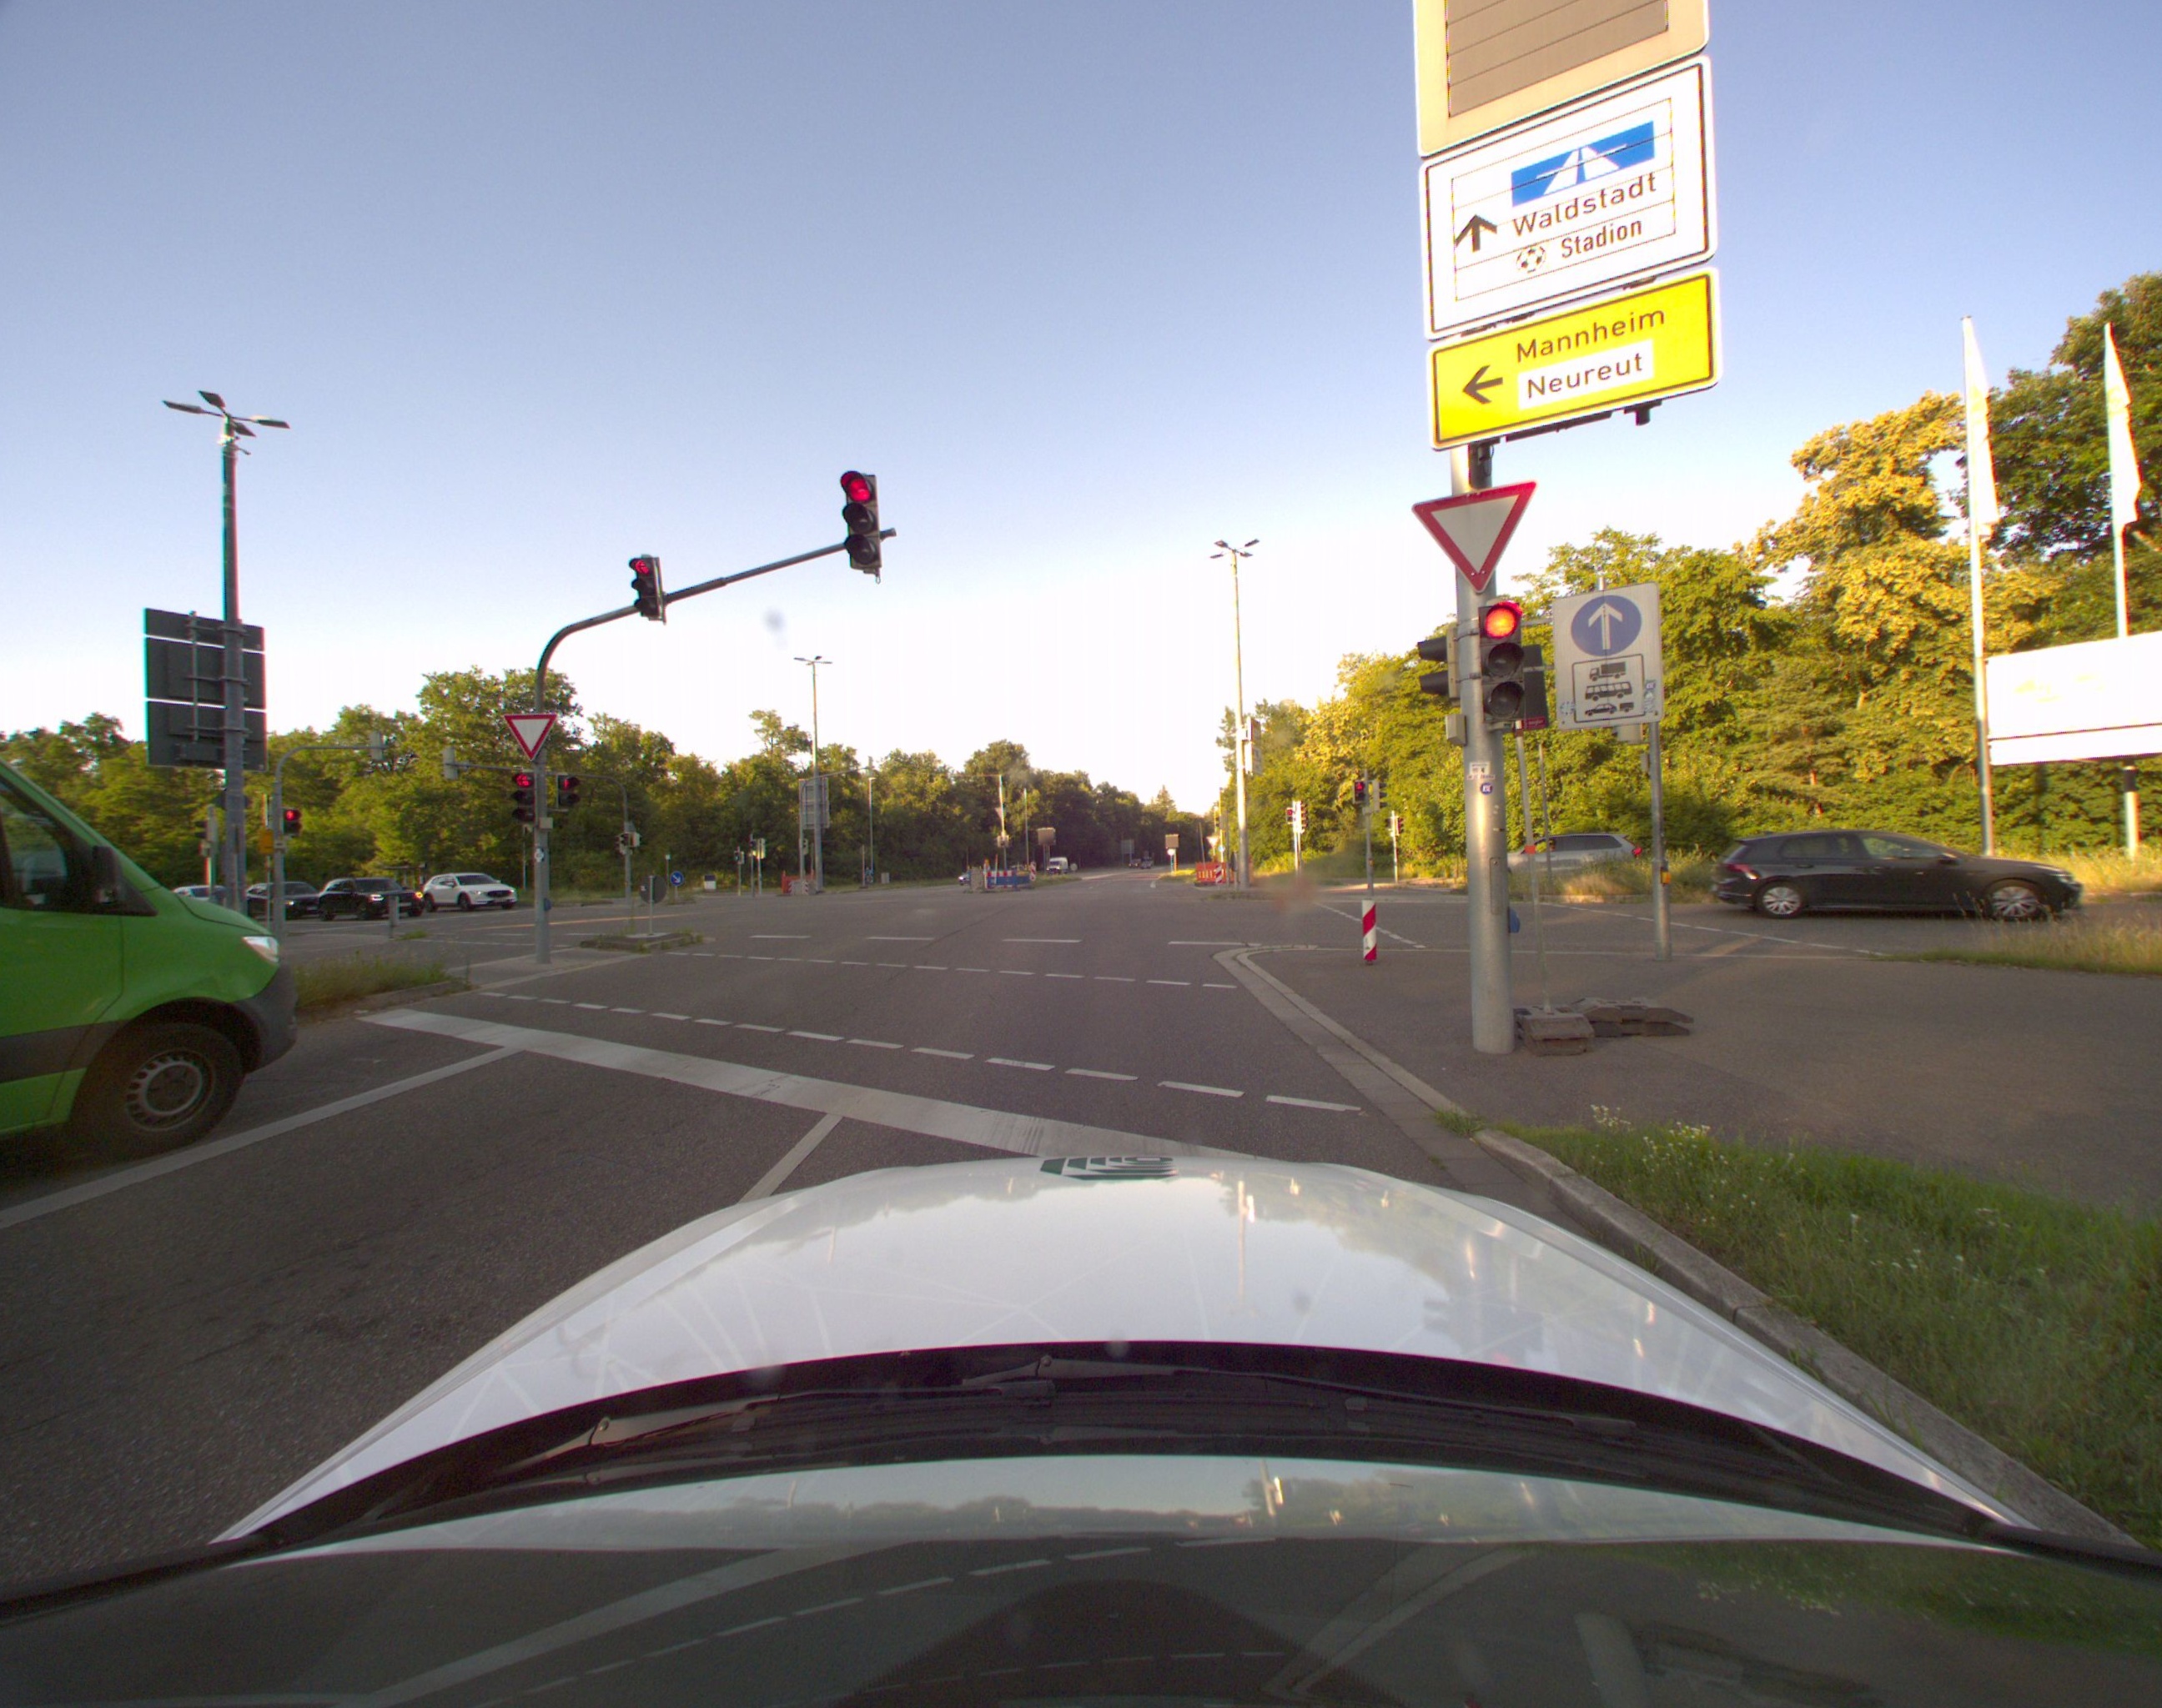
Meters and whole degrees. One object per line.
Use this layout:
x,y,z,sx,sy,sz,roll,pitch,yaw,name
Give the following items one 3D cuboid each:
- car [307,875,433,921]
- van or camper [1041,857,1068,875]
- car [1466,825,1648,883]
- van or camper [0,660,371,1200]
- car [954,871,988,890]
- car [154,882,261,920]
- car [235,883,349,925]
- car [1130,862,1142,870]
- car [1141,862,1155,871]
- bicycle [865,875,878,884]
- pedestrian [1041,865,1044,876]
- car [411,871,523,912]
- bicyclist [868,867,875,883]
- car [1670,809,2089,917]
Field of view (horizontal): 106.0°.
-27.554,1.693,31.557,4.206,1.640,2.011,-2,0,23,car
-4.046,1.851,126.875,2.868,2.652,7.140,-2,0,9,van or camper
15.029,0.022,26.075,4.773,1.598,2.011,-2,0,23,car
-5.860,0.358,2.559,1.987,2.421,5.896,-2,0,1,van or camper
-9.737,2.320,72.149,1.881,1.441,4.508,-2,0,7,car
-41.258,2.205,38.474,4.207,1.640,2.011,-2,0,21,car
-33.926,2.149,35.032,4.205,1.640,2.011,-2,0,23,car
12.416,2.659,183.639,1.979,1.640,4.015,-2,0,14,car
13.551,2.471,164.912,1.979,1.640,4.016,-3,0,14,car
-18.884,2.296,73.425,1.112,0.825,0.408,-2,-1,-39,bicycle
-6.806,2.897,143.804,0.519,2.014,0.600,0,-1,2,pedestrian
-26.760,1.636,35.497,4.206,1.640,2.011,-2,0,23,car
-18.888,1.899,73.433,0.522,1.387,0.402,-1,-1,-40,bicyclist
12.810,0.185,13.602,4.618,1.530,2.013,-2,0,31,car
